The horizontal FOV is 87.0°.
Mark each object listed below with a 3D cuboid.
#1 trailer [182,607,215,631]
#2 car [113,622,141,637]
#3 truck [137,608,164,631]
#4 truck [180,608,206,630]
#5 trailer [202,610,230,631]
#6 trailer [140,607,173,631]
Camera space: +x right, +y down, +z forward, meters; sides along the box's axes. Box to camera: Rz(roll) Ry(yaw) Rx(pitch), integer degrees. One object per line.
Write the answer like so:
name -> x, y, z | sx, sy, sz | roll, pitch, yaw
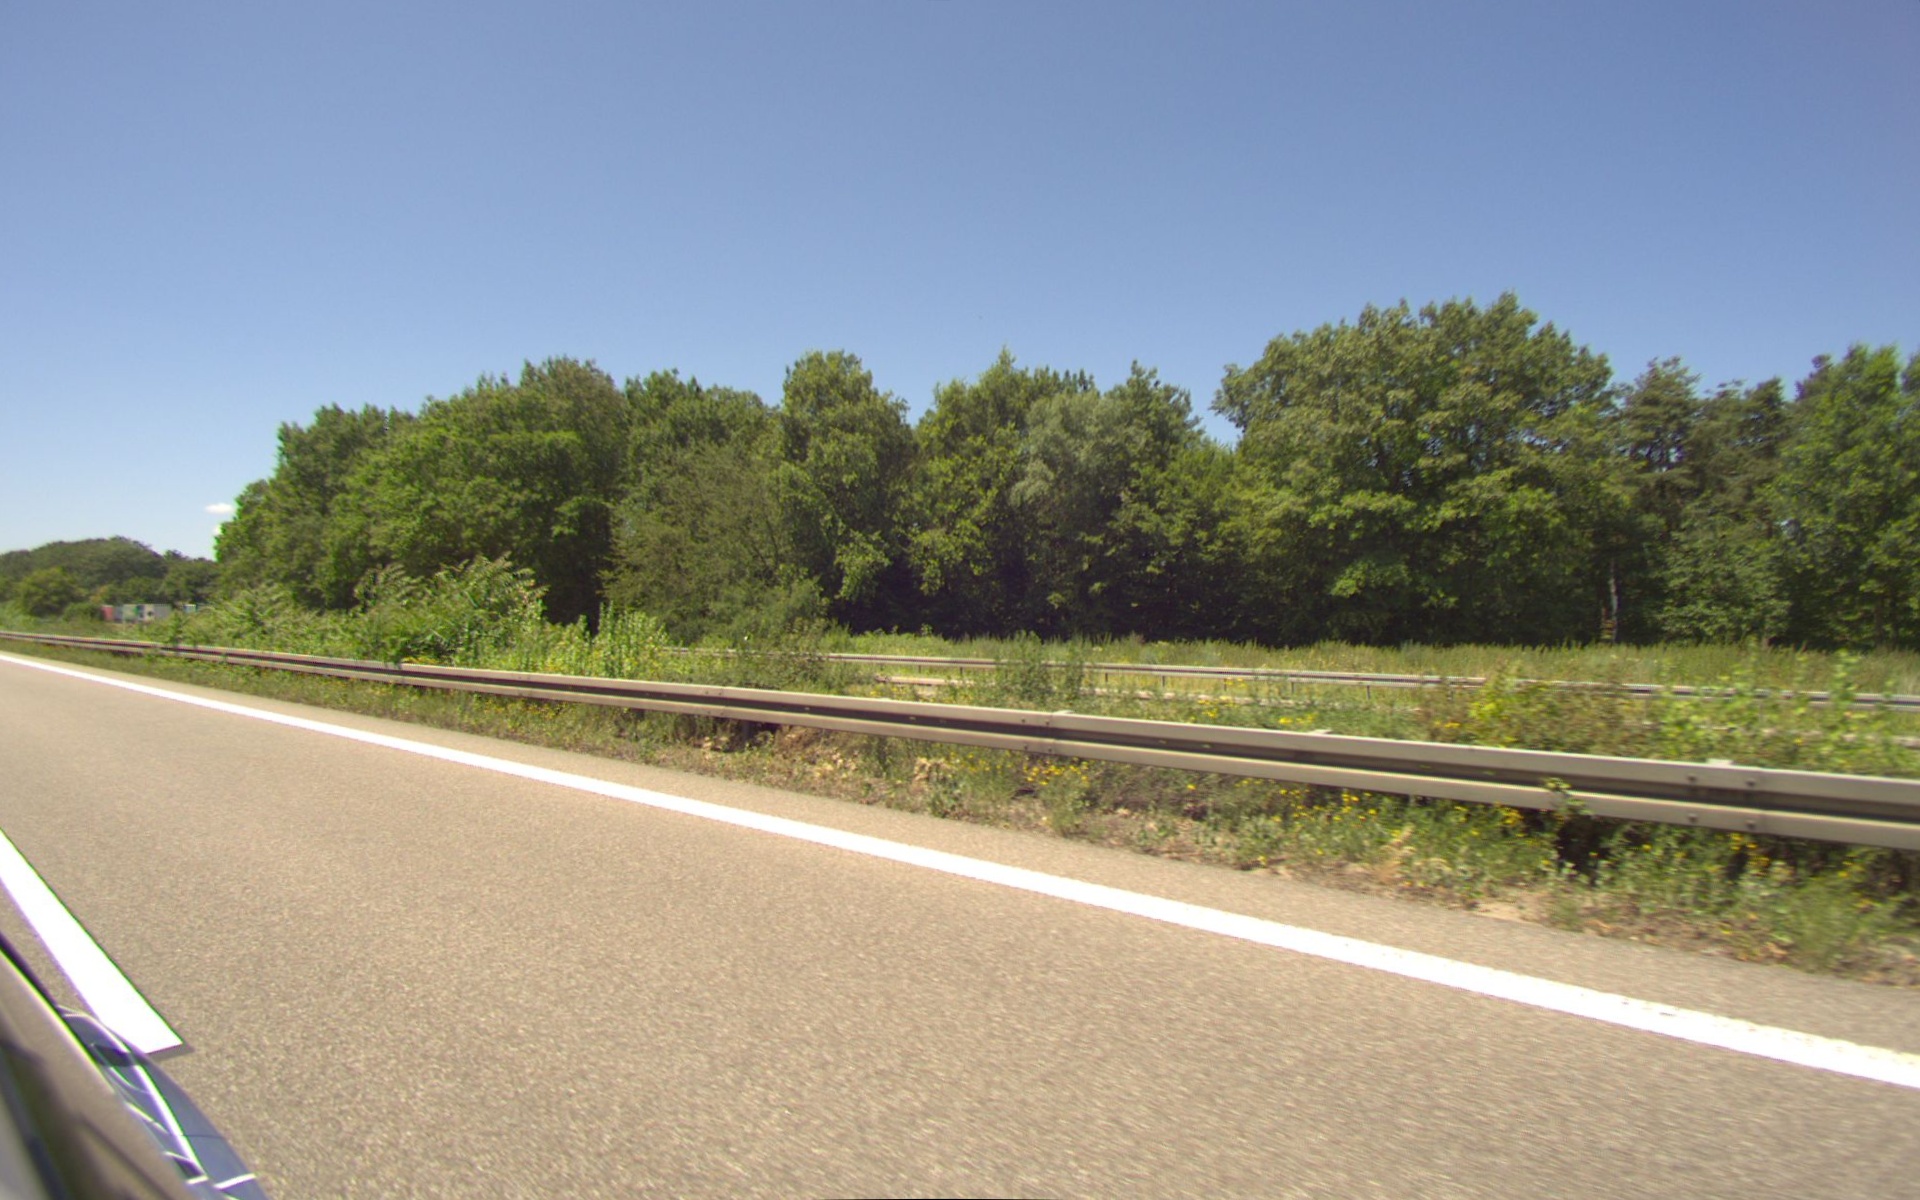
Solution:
trailer -> -156.479, 3.949, 207.825 | 3.559, 4.627, 14.033 | 2, -2, -44
car -> -99.609, 3.518, 120.984 | 3.997, 1.606, 1.951 | -1, 1, 40
truck -> -151.646, 3.552, 189.611 | 3.178, 4.167, 7.397 | -1, 0, -44
truck -> -161.600, 4.076, 213.114 | 3.559, 4.627, 6.602 | 2, -2, -44
trailer -> -132.124, 3.676, 179.723 | 3.554, 3.684, 14.051 | 1, -2, -38
trailer -> -146.219, 3.473, 184.081 | 3.178, 4.167, 14.060 | -1, 0, -44
